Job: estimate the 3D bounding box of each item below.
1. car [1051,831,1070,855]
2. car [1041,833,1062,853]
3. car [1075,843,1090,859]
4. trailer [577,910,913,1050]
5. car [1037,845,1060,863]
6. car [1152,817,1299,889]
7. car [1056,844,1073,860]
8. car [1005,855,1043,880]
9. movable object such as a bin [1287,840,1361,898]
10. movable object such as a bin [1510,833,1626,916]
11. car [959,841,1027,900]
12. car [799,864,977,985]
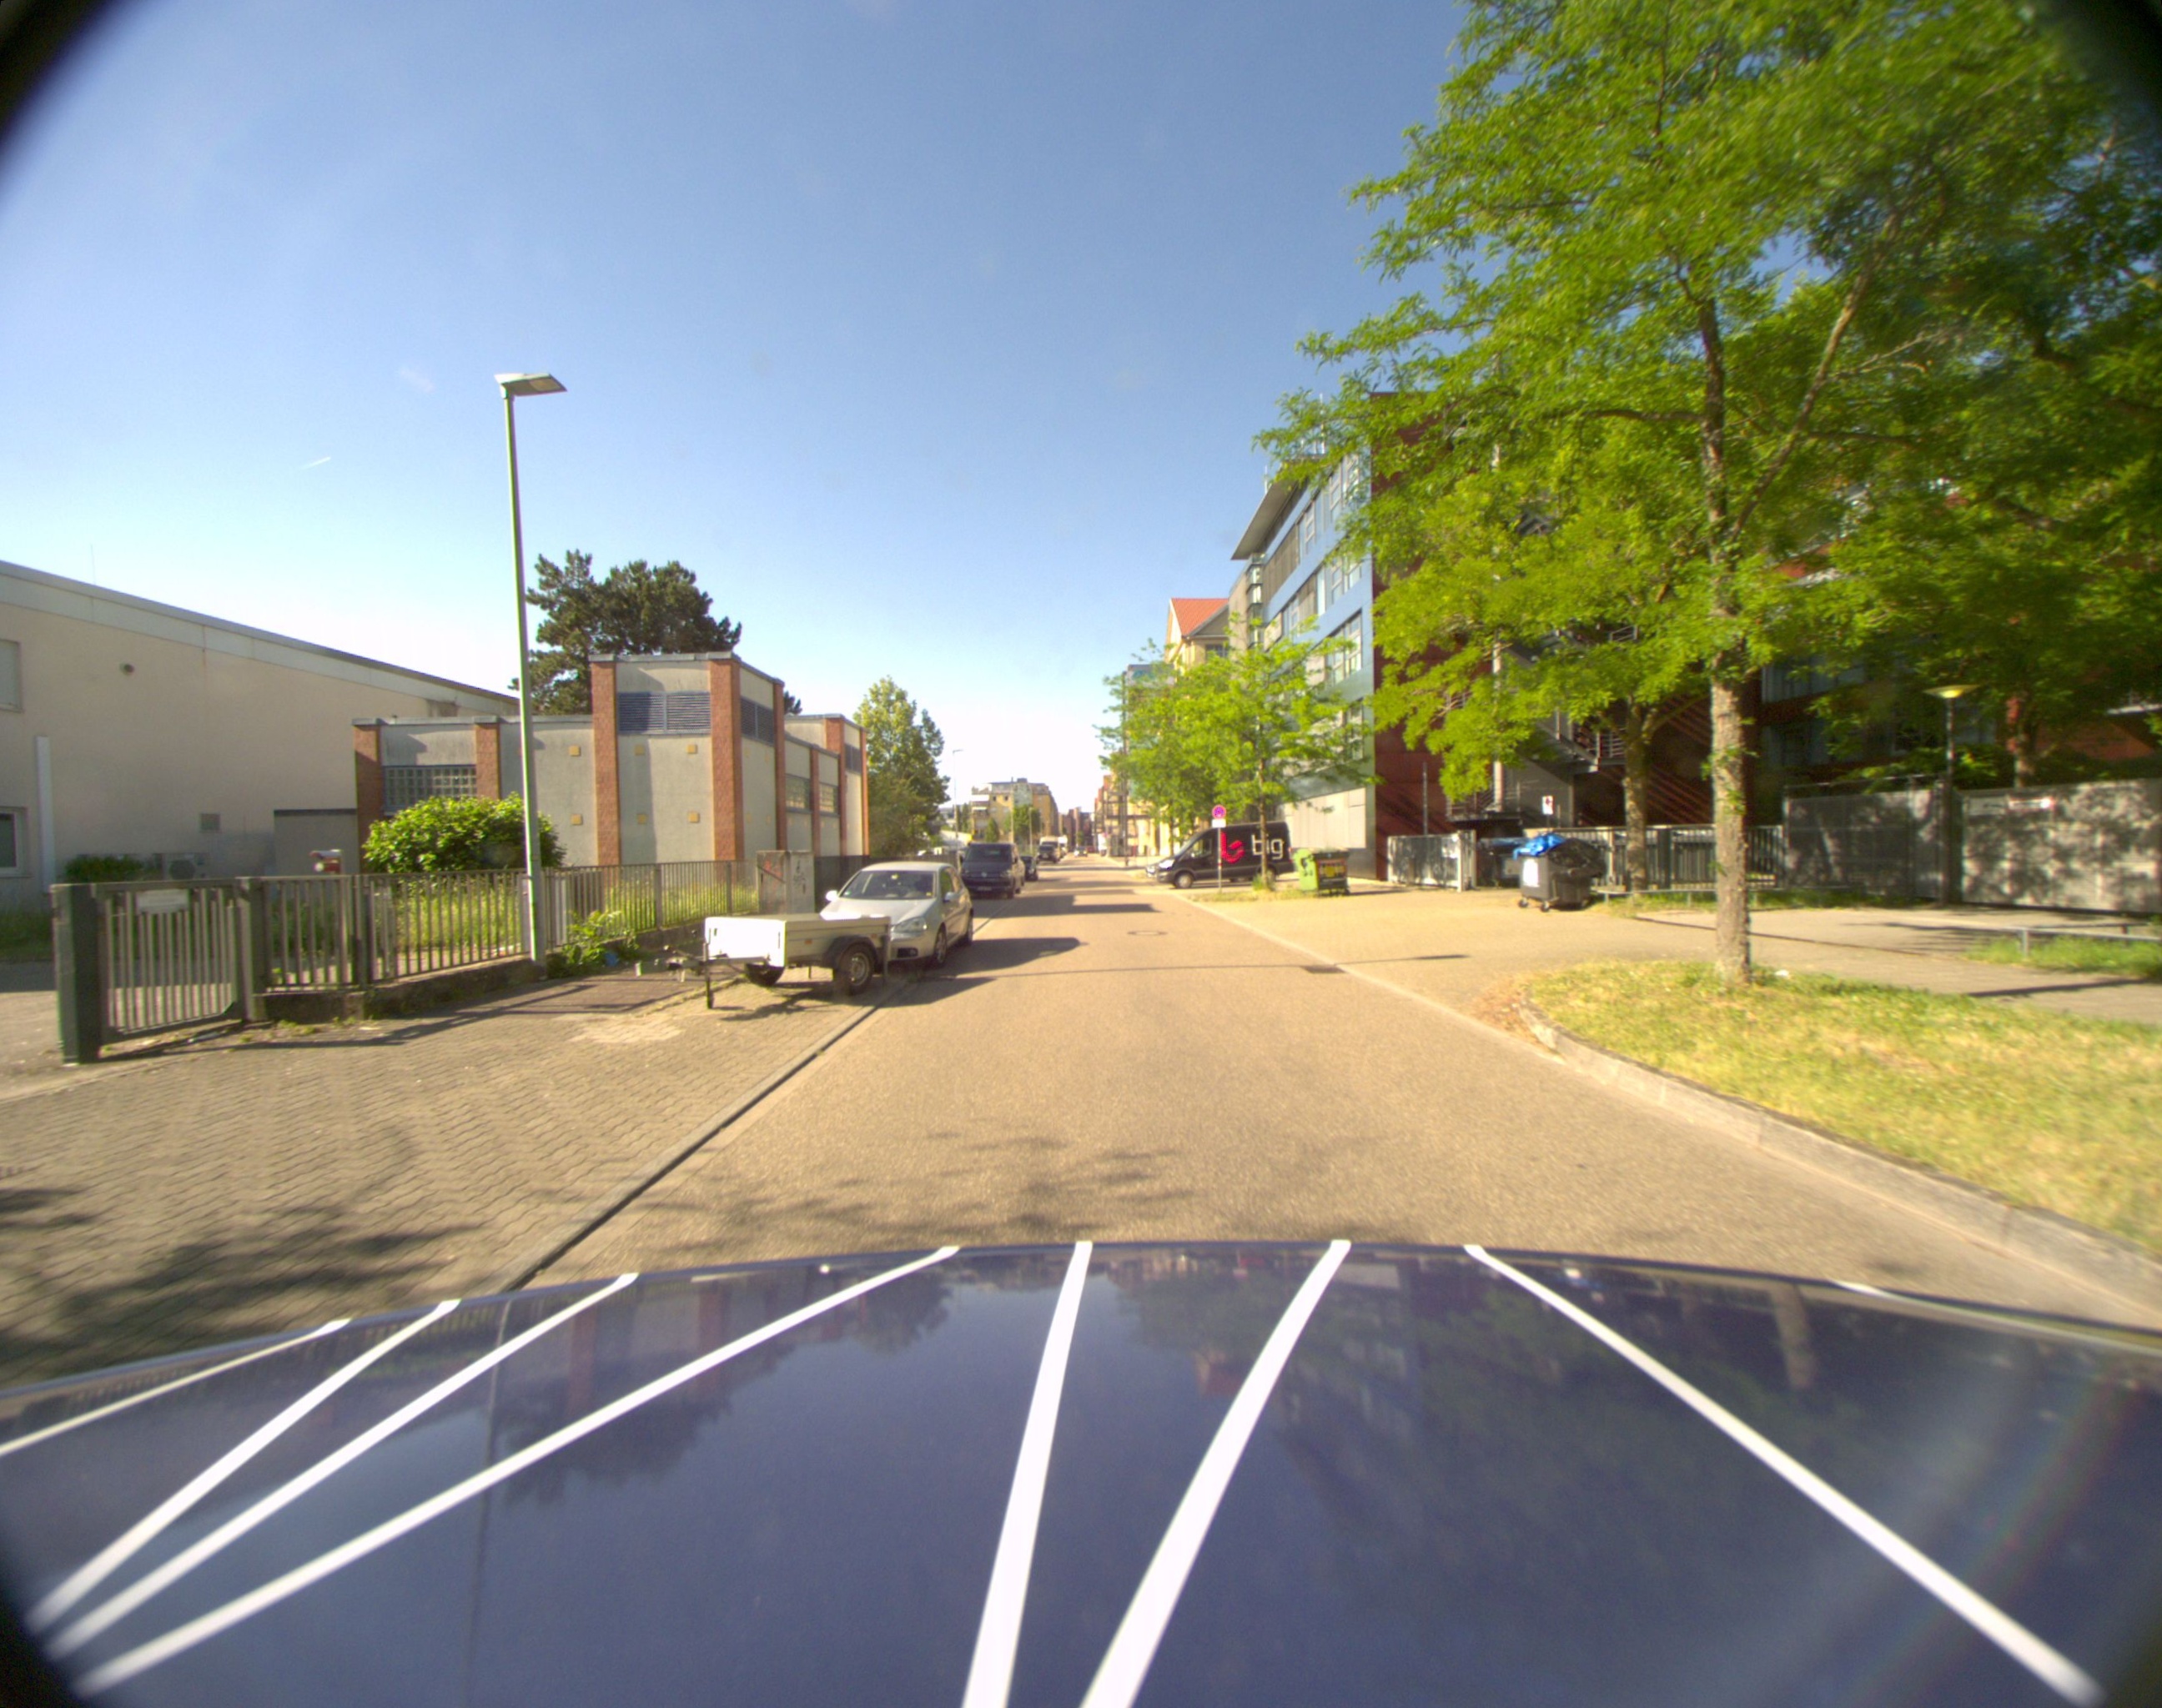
[{"bbox_3d":[-3.488,-1.884,129.211,2.913,3.921,6.325,0,1,2],"label":"car"},{"bbox_3d":[-2.985,-1.124,78.582,1.903,1.974,4.372,0,1,1],"label":"car"},{"bbox_3d":[0.237,-0.418,102.362,1.903,1.974,4.372,0,1,1],"label":"car"},{"bbox_3d":[-3.420,1.210,8.227,1.563,0.922,2.986,0,1,27],"label":"trailer"},{"bbox_3d":[-2.932,-0.038,69.338,1.903,1.585,4.372,0,1,1],"label":"car"},{"bbox_3d":[5.774,-0.040,30.870,5.489,2.527,1.986,-3,1,-1],"label":"car"},{"bbox_3d":[-2.020,-0.247,94.744,1.903,1.974,4.372,0,1,1],"label":"car"},{"bbox_3d":[-3.176,0.721,43.187,1.777,1.282,4.095,0,1,1],"label":"car"},{"bbox_3d":[6.949,0.405,21.798,1.524,1.559,1.345,-2,1,-10],"label":"movable object such as a bin"},{"bbox_3d":[9.909,0.395,15.537,1.522,1.559,1.347,-2,1,5],"label":"movable object such as a bin"},{"bbox_3d":[-3.135,0.543,27.786,1.903,1.974,4.372,0,1,1],"label":"car"},{"bbox_3d":[-2.761,0.941,11.760,1.699,1.448,3.889,0,1,1],"label":"car"}]
